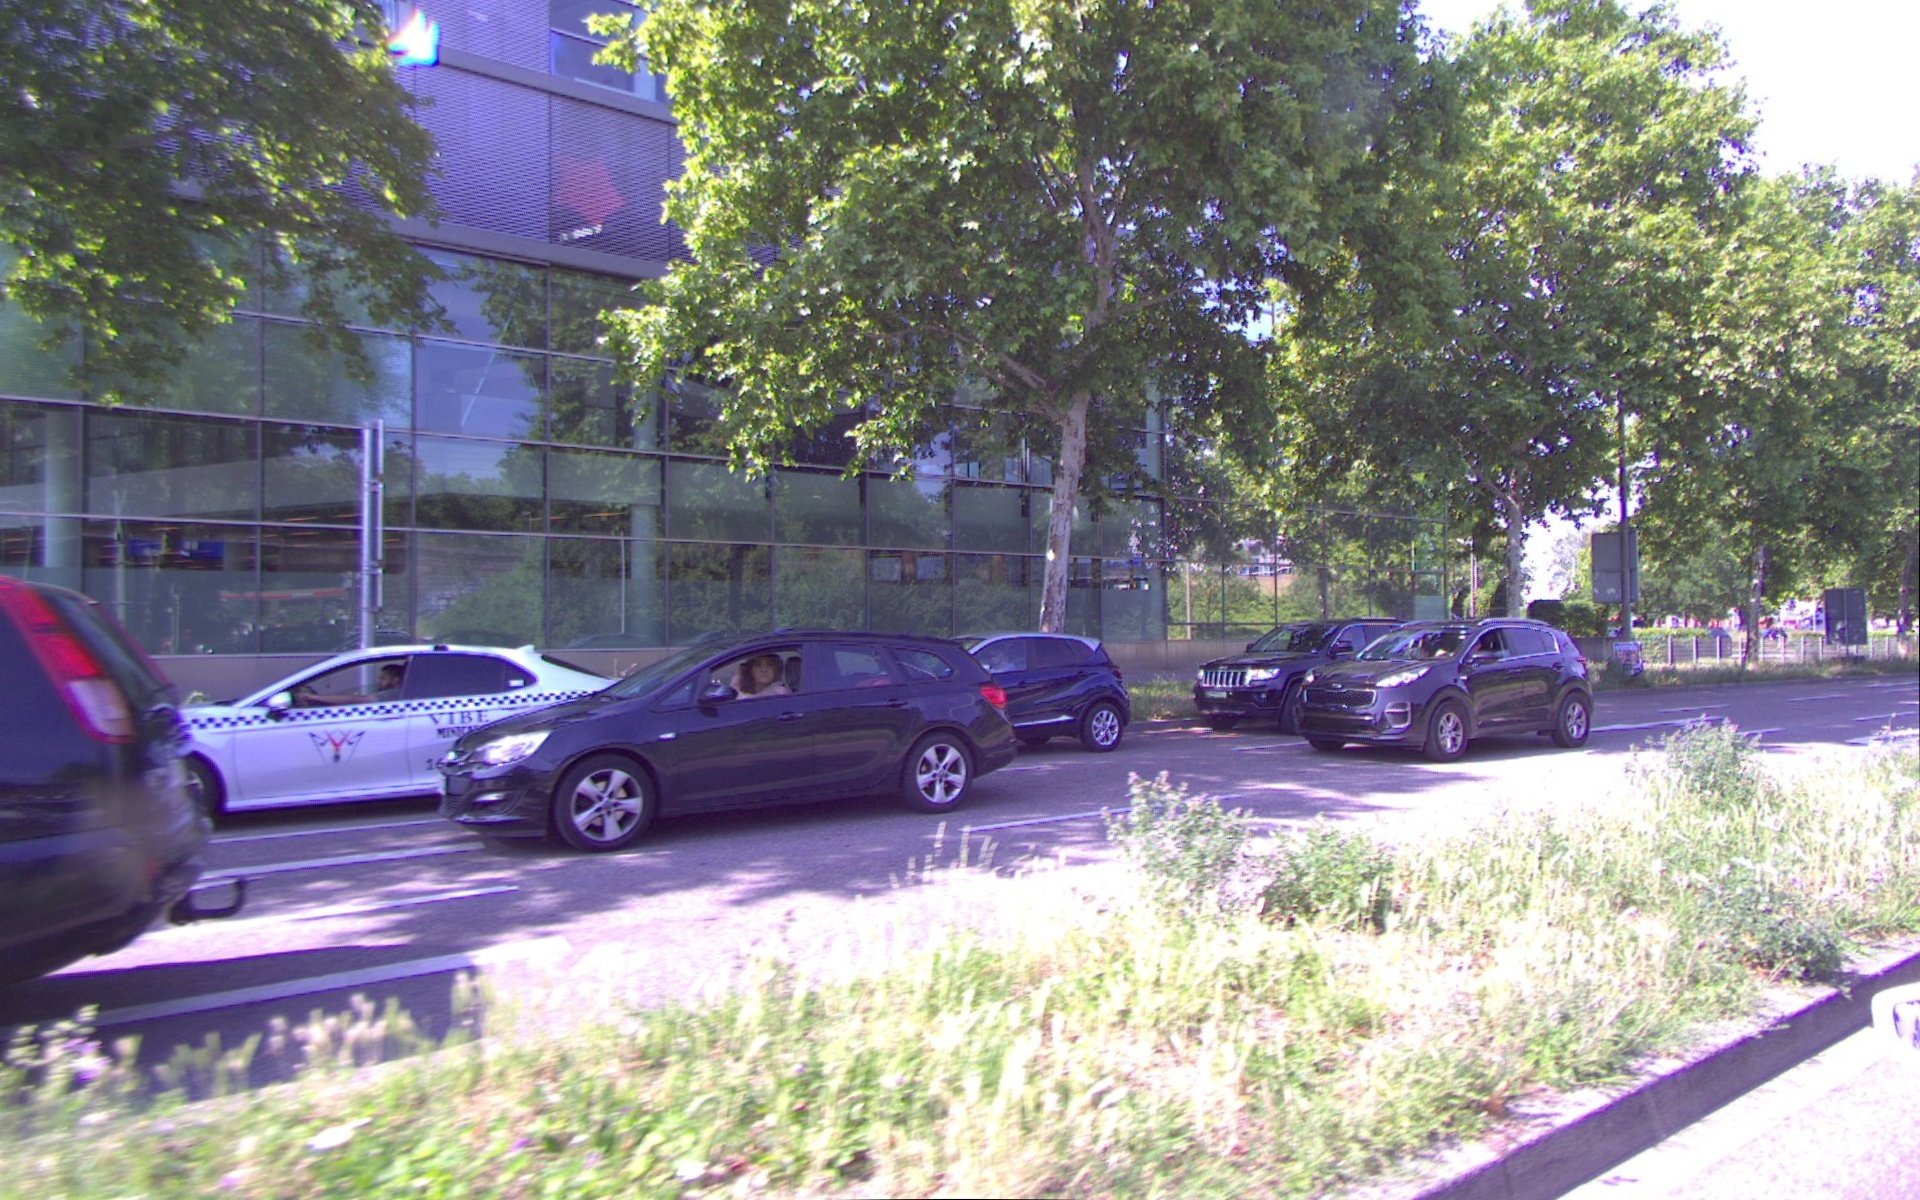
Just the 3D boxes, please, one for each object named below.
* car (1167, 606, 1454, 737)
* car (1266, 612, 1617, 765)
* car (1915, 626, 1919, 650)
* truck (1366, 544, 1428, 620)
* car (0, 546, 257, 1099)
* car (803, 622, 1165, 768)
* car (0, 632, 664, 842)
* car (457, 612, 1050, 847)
[{"bbox_3d":[5.776,1.070,16.403,4.600,1.859,1.983,0,-2,-32],"label":"car"},{"bbox_3d":[6.230,1.004,12.872,4.446,1.632,1.983,0,-2,-32],"label":"car"},{"bbox_3d":[75.892,2.942,76.631,2.129,1.847,3.972,2,-1,-27],"label":"car"},{"bbox_3d":[22.108,-0.739,51.171,2.622,3.440,8.987,0,-2,22],"label":"truck"},{"bbox_3d":[-4.736,0.672,2.816,4.443,1.636,1.797,0,-2,-33],"label":"car"},{"bbox_3d":[0.367,1.123,13.048,4.395,1.611,1.878,1,-3,-31],"label":"car"},{"bbox_3d":[-5.409,1.056,9.117,4.947,1.468,1.882,1,-3,-32],"label":"car"},{"bbox_3d":[-1.604,0.904,8.315,4.465,1.481,1.827,1,-4,-31],"label":"car"}]
